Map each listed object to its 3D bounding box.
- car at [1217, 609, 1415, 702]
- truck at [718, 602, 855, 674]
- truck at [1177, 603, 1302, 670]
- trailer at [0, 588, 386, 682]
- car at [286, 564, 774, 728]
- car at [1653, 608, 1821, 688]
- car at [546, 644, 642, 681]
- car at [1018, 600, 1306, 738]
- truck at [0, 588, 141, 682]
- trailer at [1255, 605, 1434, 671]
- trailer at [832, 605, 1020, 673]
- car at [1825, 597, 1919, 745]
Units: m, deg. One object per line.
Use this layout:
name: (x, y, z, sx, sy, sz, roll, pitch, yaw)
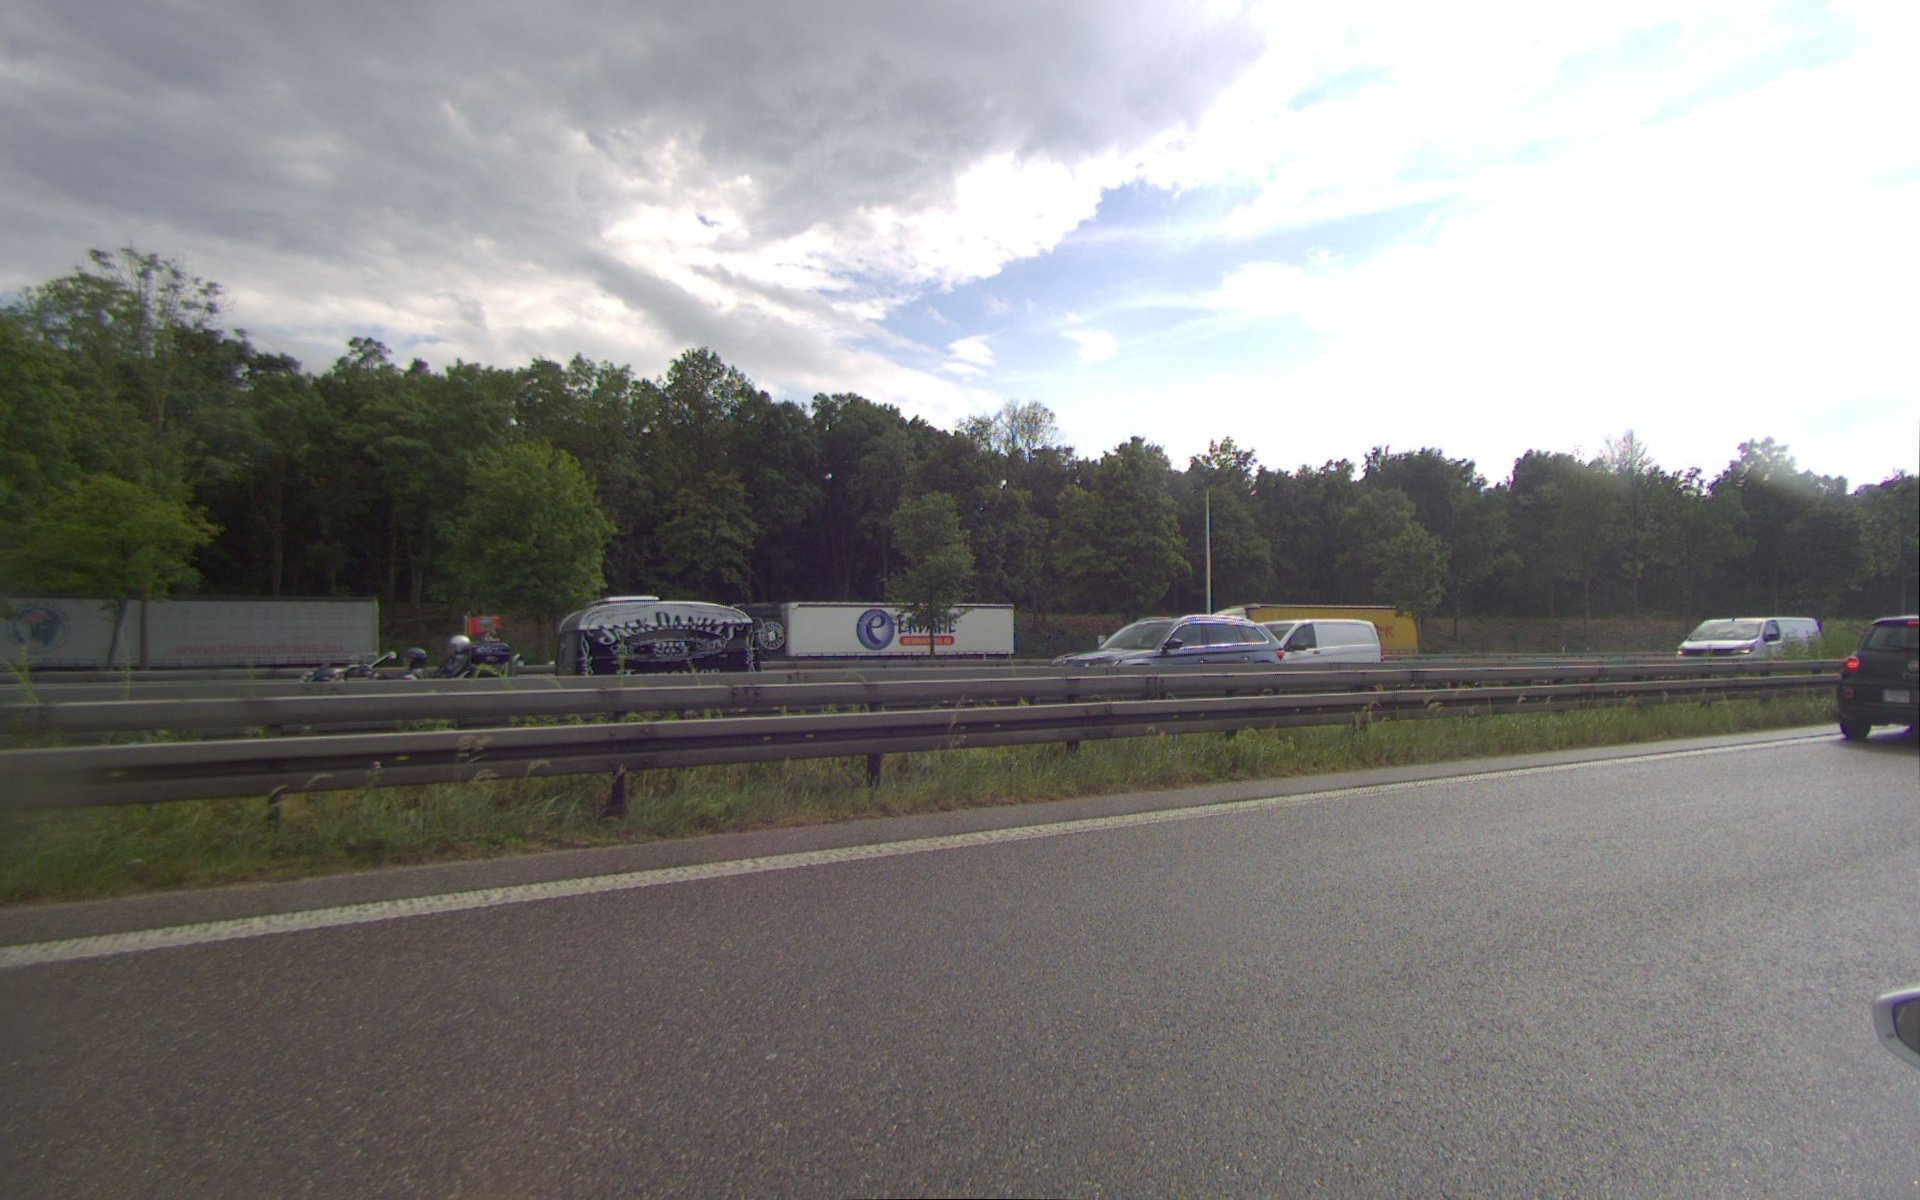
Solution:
car: (8.809, 1.323, 24.786, 4.599, 2.073, 2.163, 2, 0, -31)
truck: (-9.568, 2.085, 55.186, 6.615, 3.709, 3.776, 2, 0, -25)
truck: (18.394, 2.354, 66.307, 6.933, 4.171, 3.786, 2, 0, -17)
trailer: (-32.904, 1.528, 44.169, 13.187, 3.697, 3.771, 1, -2, -30)
car: (-6.269, 0.666, 15.270, 6.427, 2.073, 2.163, 2, 0, -31)
car: (21.990, 1.330, 28.367, 5.150, 2.073, 2.041, 2, 0, -31)
car: (-18.596, 3.144, 51.029, 4.313, 1.741, 2.050, 2, 0, -28)
car: (3.514, 1.108, 17.282, 4.599, 2.073, 2.163, 2, 0, -31)
truck: (-38.451, 1.365, 40.933, 7.269, 3.637, 3.769, 2, 0, -30)
trailer: (26.310, 2.593, 68.785, 11.538, 4.171, 3.786, 2, 0, -17)
trailer: (-1.943, 2.275, 58.693, 10.350, 3.697, 3.780, 1, -2, -24)
car: (13.486, 0.931, 13.524, 3.932, 1.828, 1.683, 2, 0, -32)
